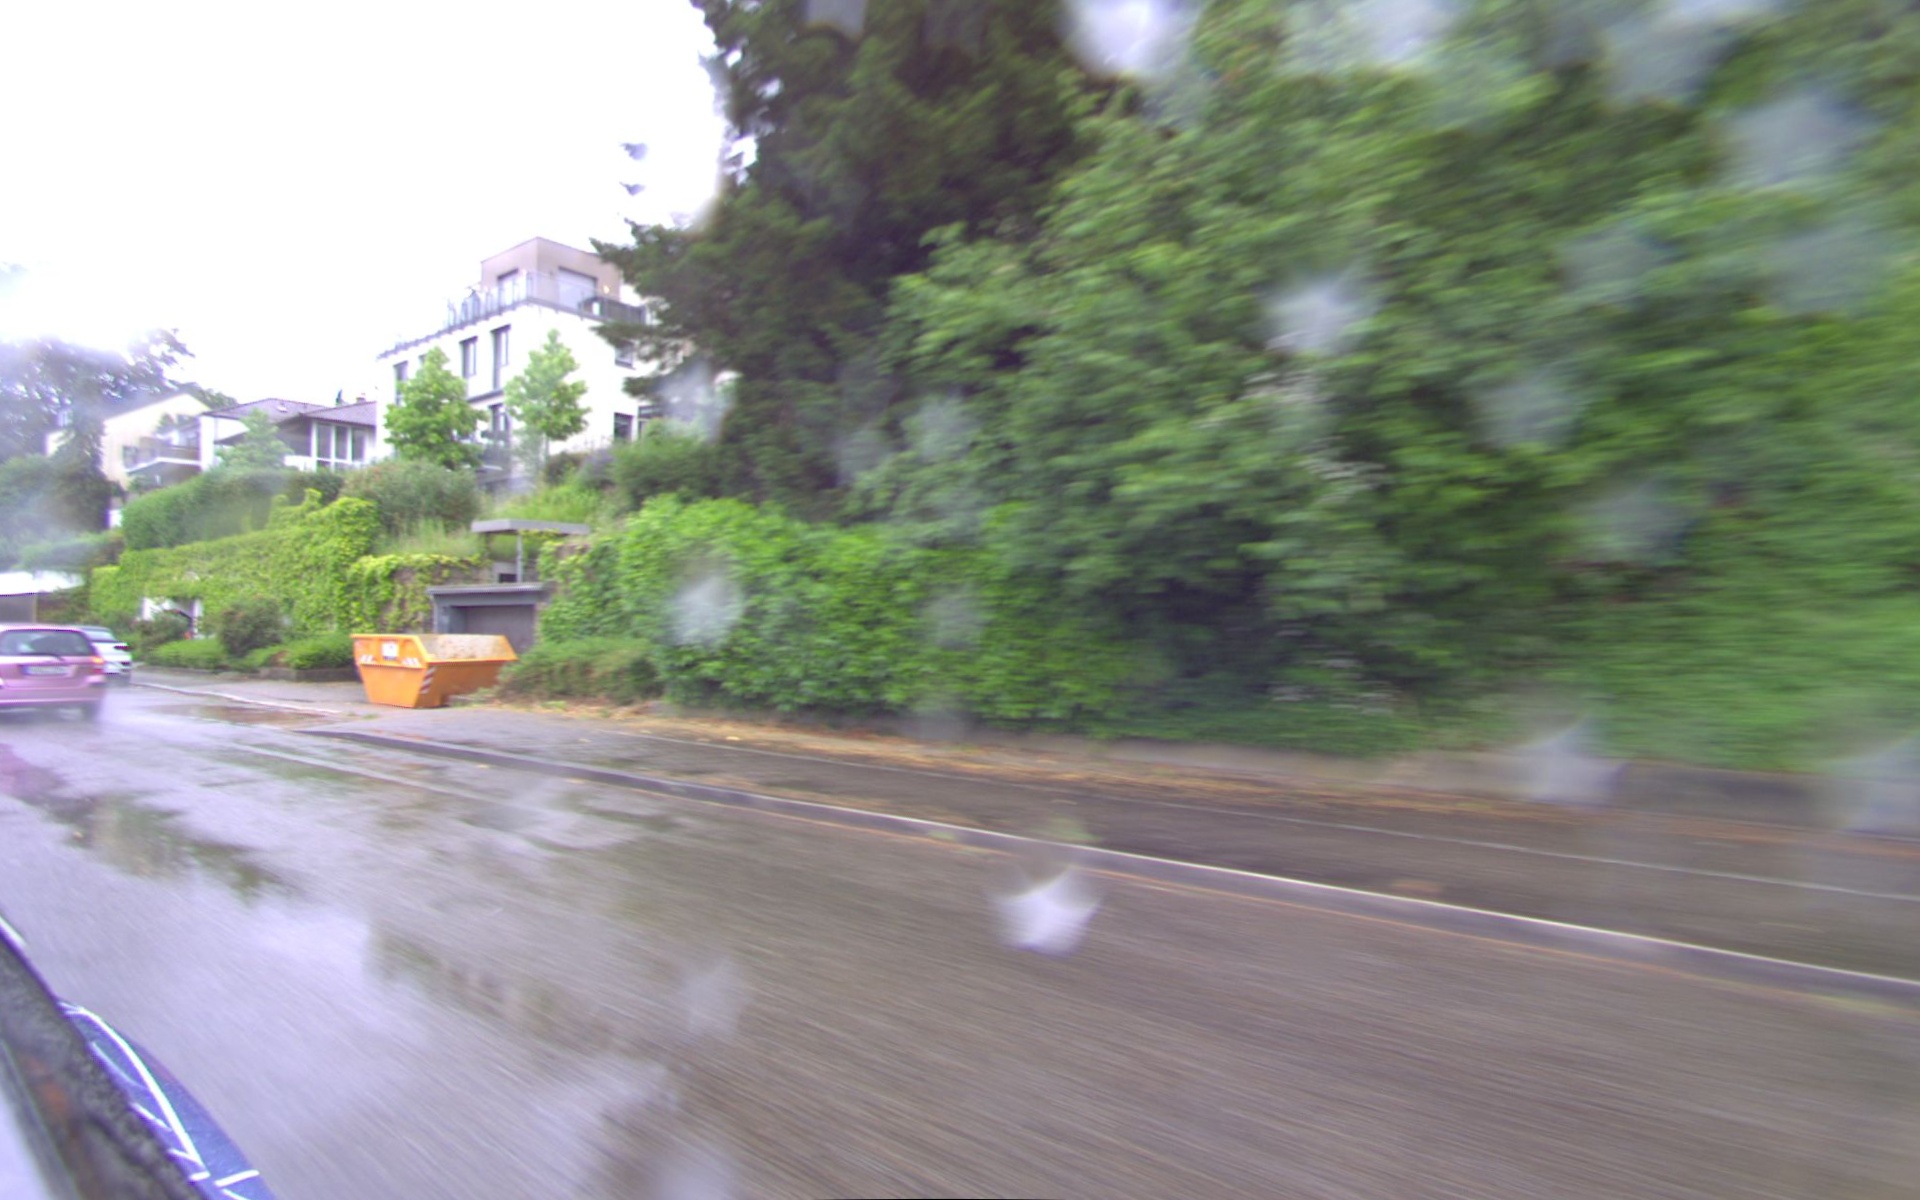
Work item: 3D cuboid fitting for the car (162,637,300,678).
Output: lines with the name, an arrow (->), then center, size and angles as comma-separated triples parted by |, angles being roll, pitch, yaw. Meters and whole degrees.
car -> -26.565, 2.067, 36.945 | 1.864, 1.394, 3.720 | -2, -3, 39

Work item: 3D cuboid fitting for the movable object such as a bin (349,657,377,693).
movable object such as a bin -> -14.703, 1.847, 24.930 | 0.548, 0.826, 0.394 | 3, 0, 37

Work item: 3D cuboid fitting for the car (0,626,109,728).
car -> -15.080, 1.148, 16.005 | 3.655, 1.472, 1.647 | -1, -2, 36
